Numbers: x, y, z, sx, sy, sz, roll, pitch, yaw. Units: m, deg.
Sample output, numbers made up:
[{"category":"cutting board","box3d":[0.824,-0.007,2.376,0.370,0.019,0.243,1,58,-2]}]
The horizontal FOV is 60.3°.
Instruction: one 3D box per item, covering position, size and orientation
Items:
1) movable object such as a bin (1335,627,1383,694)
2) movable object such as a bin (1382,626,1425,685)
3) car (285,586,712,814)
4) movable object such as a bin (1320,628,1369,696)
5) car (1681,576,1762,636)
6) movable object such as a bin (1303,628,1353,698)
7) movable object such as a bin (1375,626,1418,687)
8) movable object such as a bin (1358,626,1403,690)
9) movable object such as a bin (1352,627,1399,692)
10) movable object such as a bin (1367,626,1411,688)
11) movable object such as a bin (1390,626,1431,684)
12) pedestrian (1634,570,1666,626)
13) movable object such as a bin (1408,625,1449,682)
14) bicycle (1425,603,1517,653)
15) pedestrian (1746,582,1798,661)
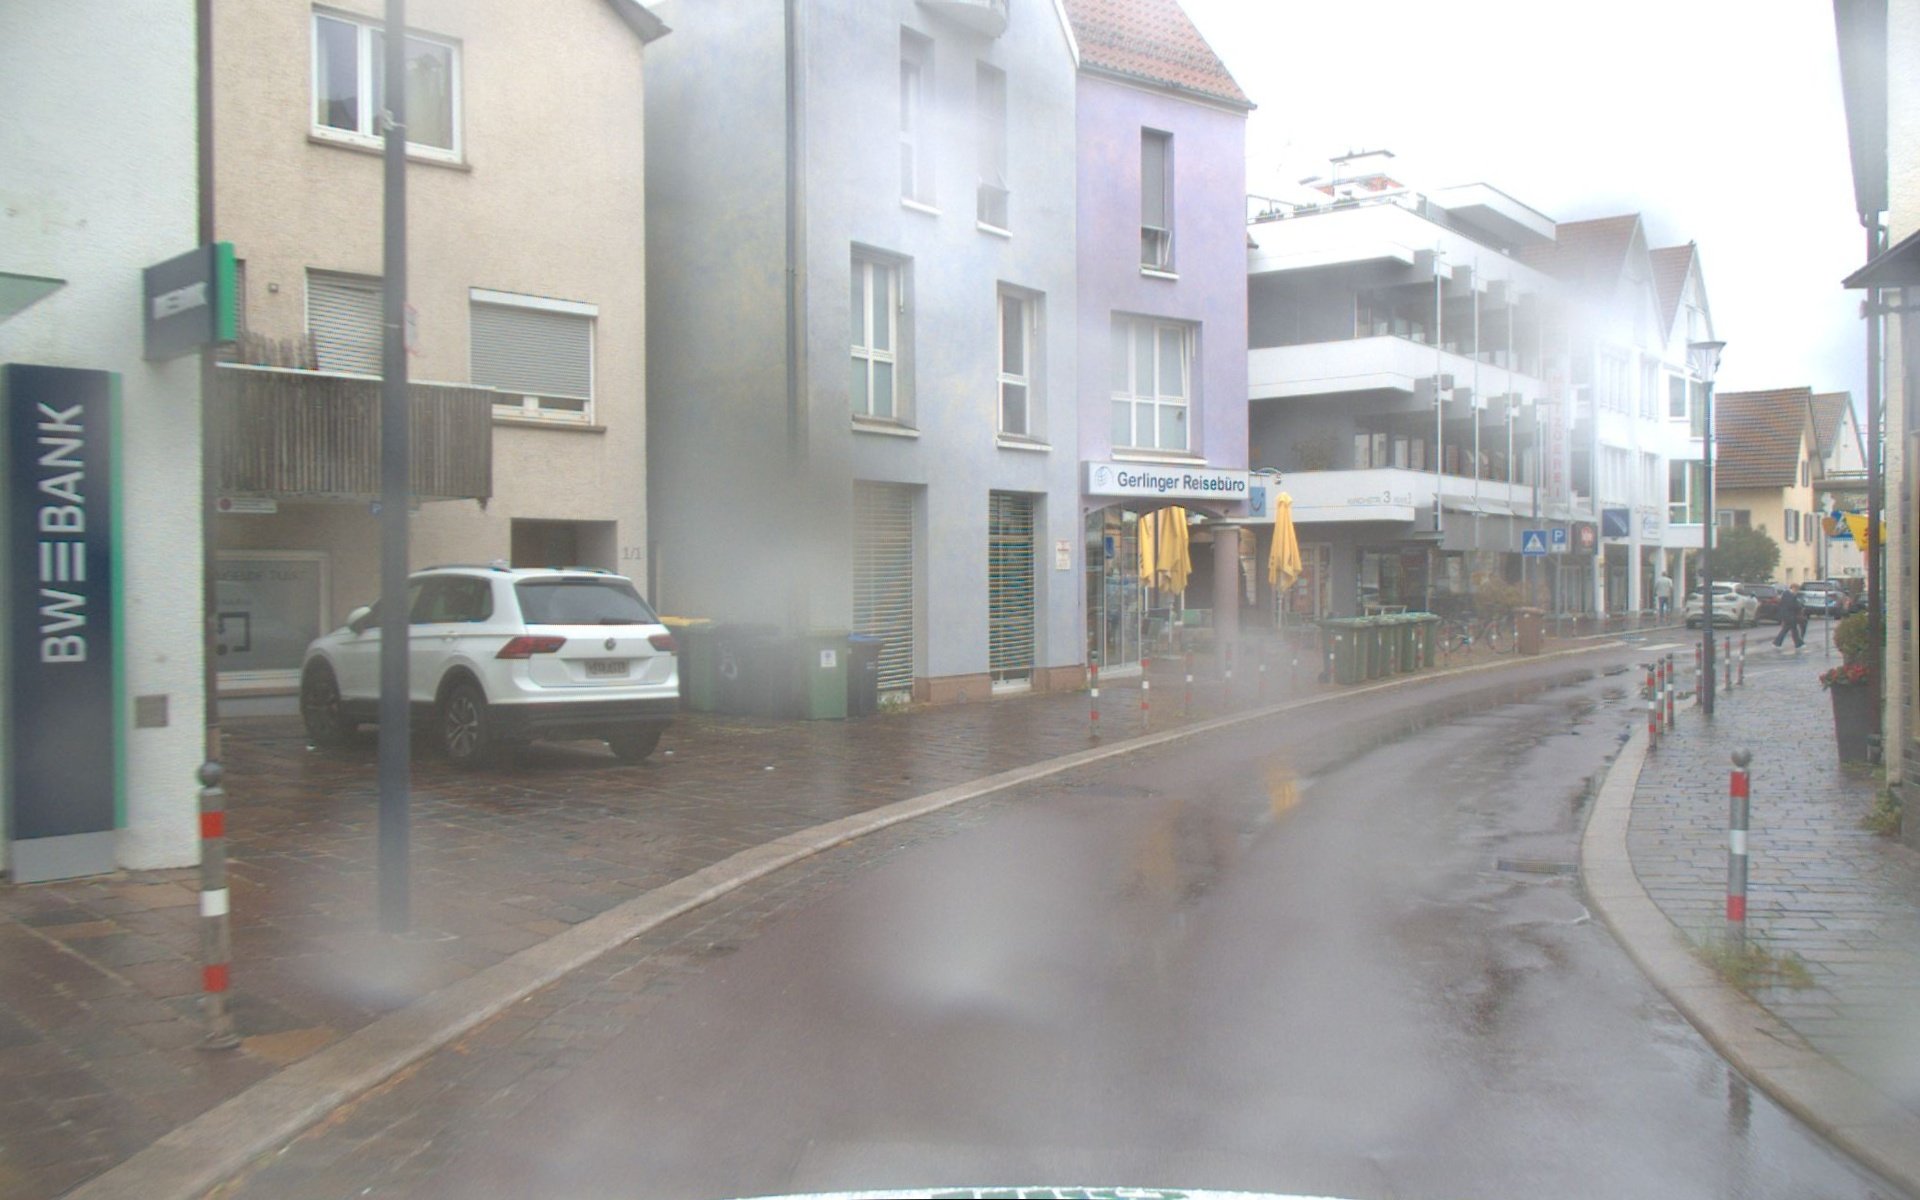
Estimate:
[{"category":"movable object such as a bin","box3d":[7.037,1.067,29.178,0.621,1.147,0.575,-3,-2,33]},{"category":"movable object such as a bin","box3d":[8.834,1.104,32.949,0.621,1.147,0.575,-3,-2,33]},{"category":"car","box3d":[-4.156,0.802,14.561,1.985,1.706,3.934,-1,-1,-44]},{"category":"movable object such as a bin","box3d":[6.613,1.064,28.476,0.621,1.147,0.575,-3,-2,33]},{"category":"car","box3d":[27.743,0.223,60.219,1.959,2.049,3.987,-4,-2,34]},{"category":"movable object such as a bin","box3d":[6.190,1.063,27.818,0.621,1.147,0.575,-3,-2,33]},{"category":"movable object such as a bin","box3d":[8.518,1.098,32.283,0.621,1.147,0.575,-3,-2,33]},{"category":"movable object such as a bin","box3d":[7.870,1.085,30.929,0.621,1.147,0.575,-3,-2,33]},{"category":"movable object such as a bin","box3d":[7.560,1.073,30.091,0.621,1.147,0.575,-3,-2,33]},{"category":"movable object such as a bin","box3d":[8.209,1.092,31.646,0.621,1.147,0.575,-3,-2,33]},{"category":"movable object such as a bin","box3d":[9.121,1.108,33.488,0.621,1.147,0.575,-3,-2,33]},{"category":"pedestrian","box3d":[25.976,-0.056,62.263,0.822,2.049,1.004,-4,-2,36]},{"category":"movable object such as a bin","box3d":[9.625,1.095,33.975,0.621,1.147,0.575,-3,-2,33]},{"category":"bicycle","box3d":[14.694,0.799,47.585,2.264,1.337,1.006,-4,-2,38]},{"category":"pedestrian","box3d":[21.339,0.561,43.457,1.121,2.049,0.825,-2,0,32]}]
